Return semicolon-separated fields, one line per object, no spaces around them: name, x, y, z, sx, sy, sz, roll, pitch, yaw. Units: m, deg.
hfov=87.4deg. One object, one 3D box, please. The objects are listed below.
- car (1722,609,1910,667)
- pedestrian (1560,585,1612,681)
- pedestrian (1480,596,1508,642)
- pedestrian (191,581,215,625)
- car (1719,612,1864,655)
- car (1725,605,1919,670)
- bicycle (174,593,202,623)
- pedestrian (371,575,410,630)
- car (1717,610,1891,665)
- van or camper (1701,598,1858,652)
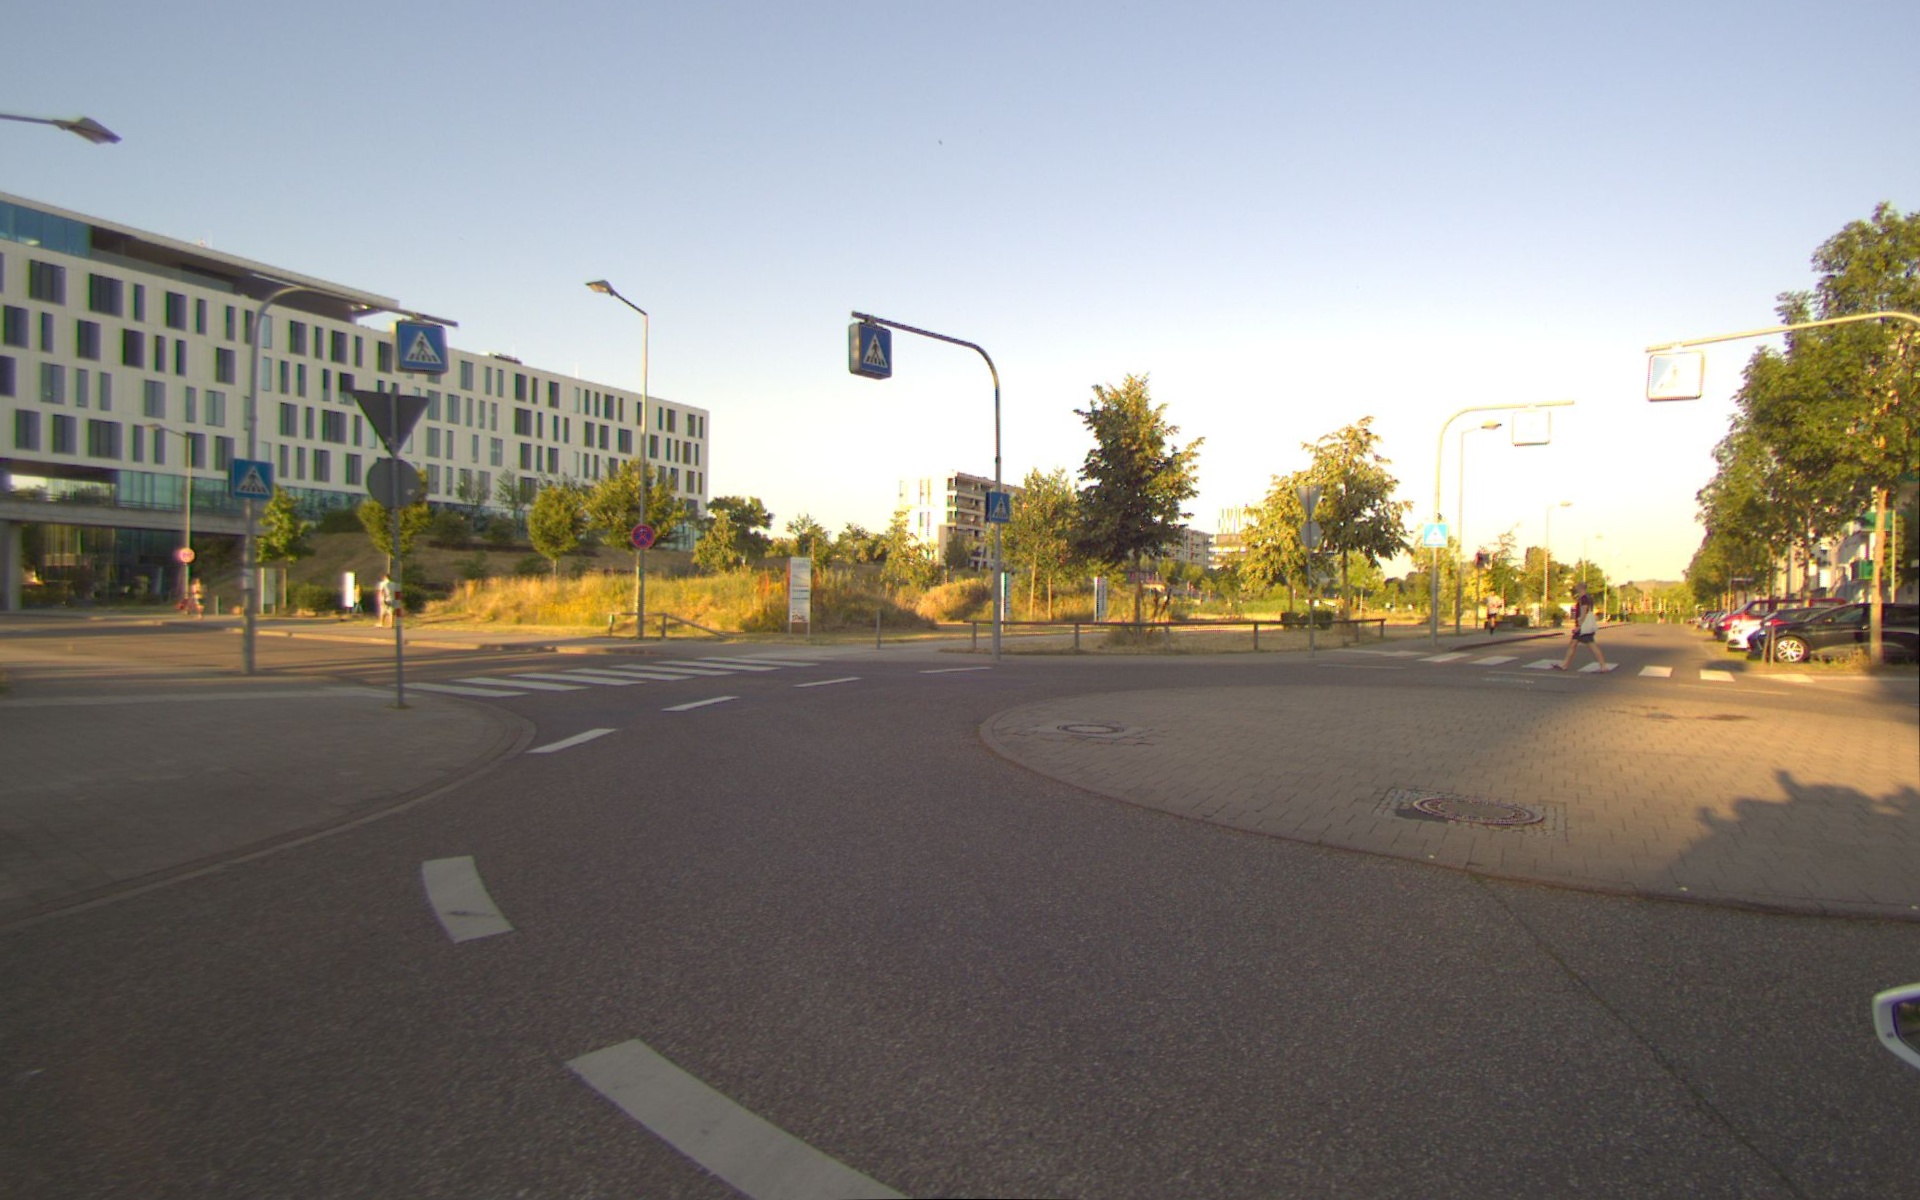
car;24.852;1.075;29.381;3.989;1.499;1.696;2;0;35
pedestrian;12.197;0.625;19.572;0.788;1.808;0.732;2;0;34
pedestrian;20.922;0.743;39.337;0.756;1.753;0.798;2;0;41
pedestrian;-31.588;0.124;41.933;0.805;1.826;0.594;2;0;39
car;33.805;1.345;41.002;4.393;1.541;1.696;2;0;35
car;21.838;0.930;24.997;4.410;1.507;1.826;-2;-2;37
bicycle;-31.963;0.308;41.585;1.910;1.184;0.449;2;0;38
pedestrian;-18.728;0.084;33.037;0.805;1.790;0.830;2;0;39
car;26.197;1.125;31.369;3.989;1.499;1.696;2;0;35
van or camper;35.286;1.051;43.476;5.046;2.087;1.872;2;0;34
